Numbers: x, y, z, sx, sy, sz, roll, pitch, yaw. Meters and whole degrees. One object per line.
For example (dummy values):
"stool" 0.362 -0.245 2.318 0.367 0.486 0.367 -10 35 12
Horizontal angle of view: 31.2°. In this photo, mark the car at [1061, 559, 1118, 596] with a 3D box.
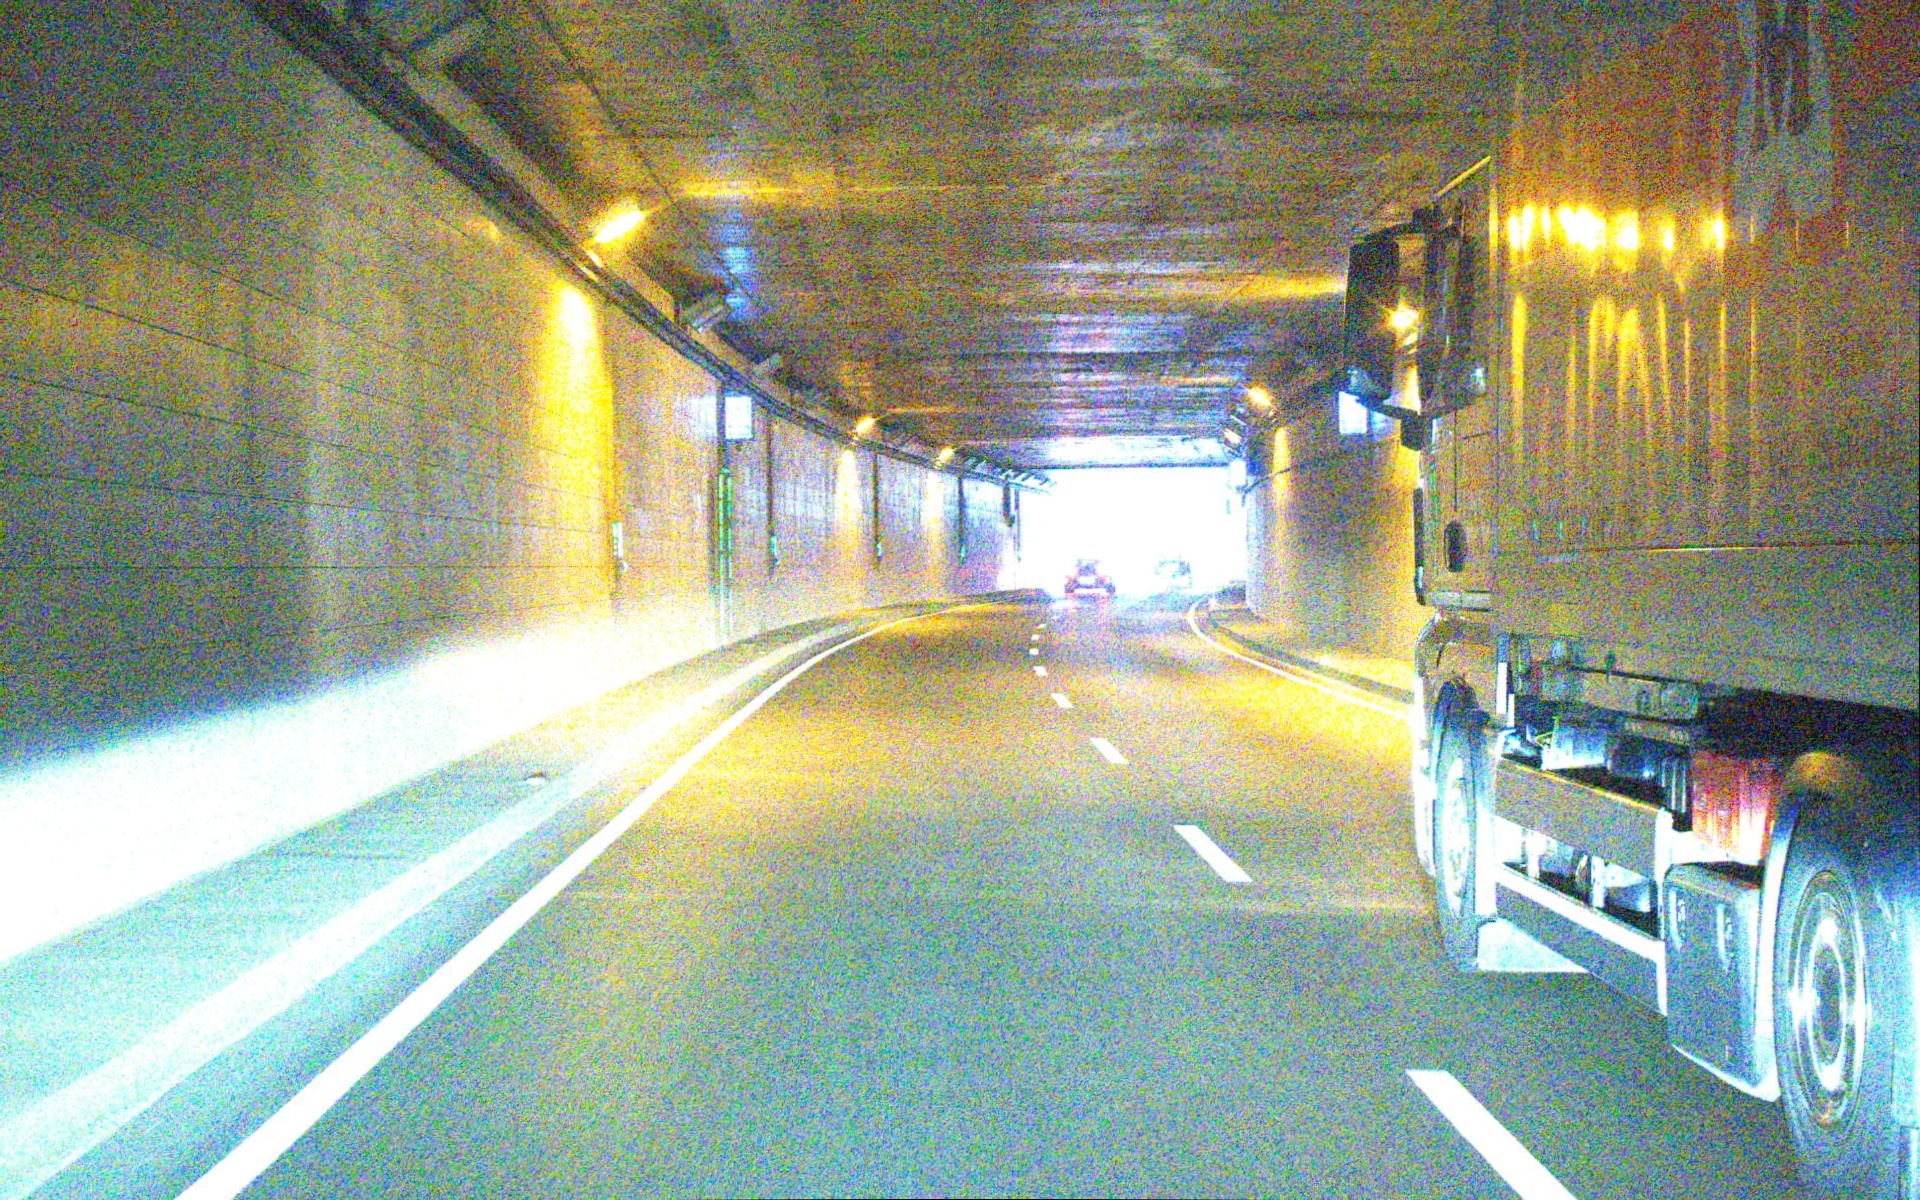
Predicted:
"car" 4.943 -0.846 130.440 1.842 1.384 3.999 0 0 7

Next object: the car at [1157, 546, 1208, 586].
"car" 9.676 -1.462 149.491 1.870 1.726 3.999 0 0 9

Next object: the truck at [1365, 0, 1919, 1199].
"truck" 3.196 -0.578 8.886 2.888 3.900 9.910 0 1 -1
